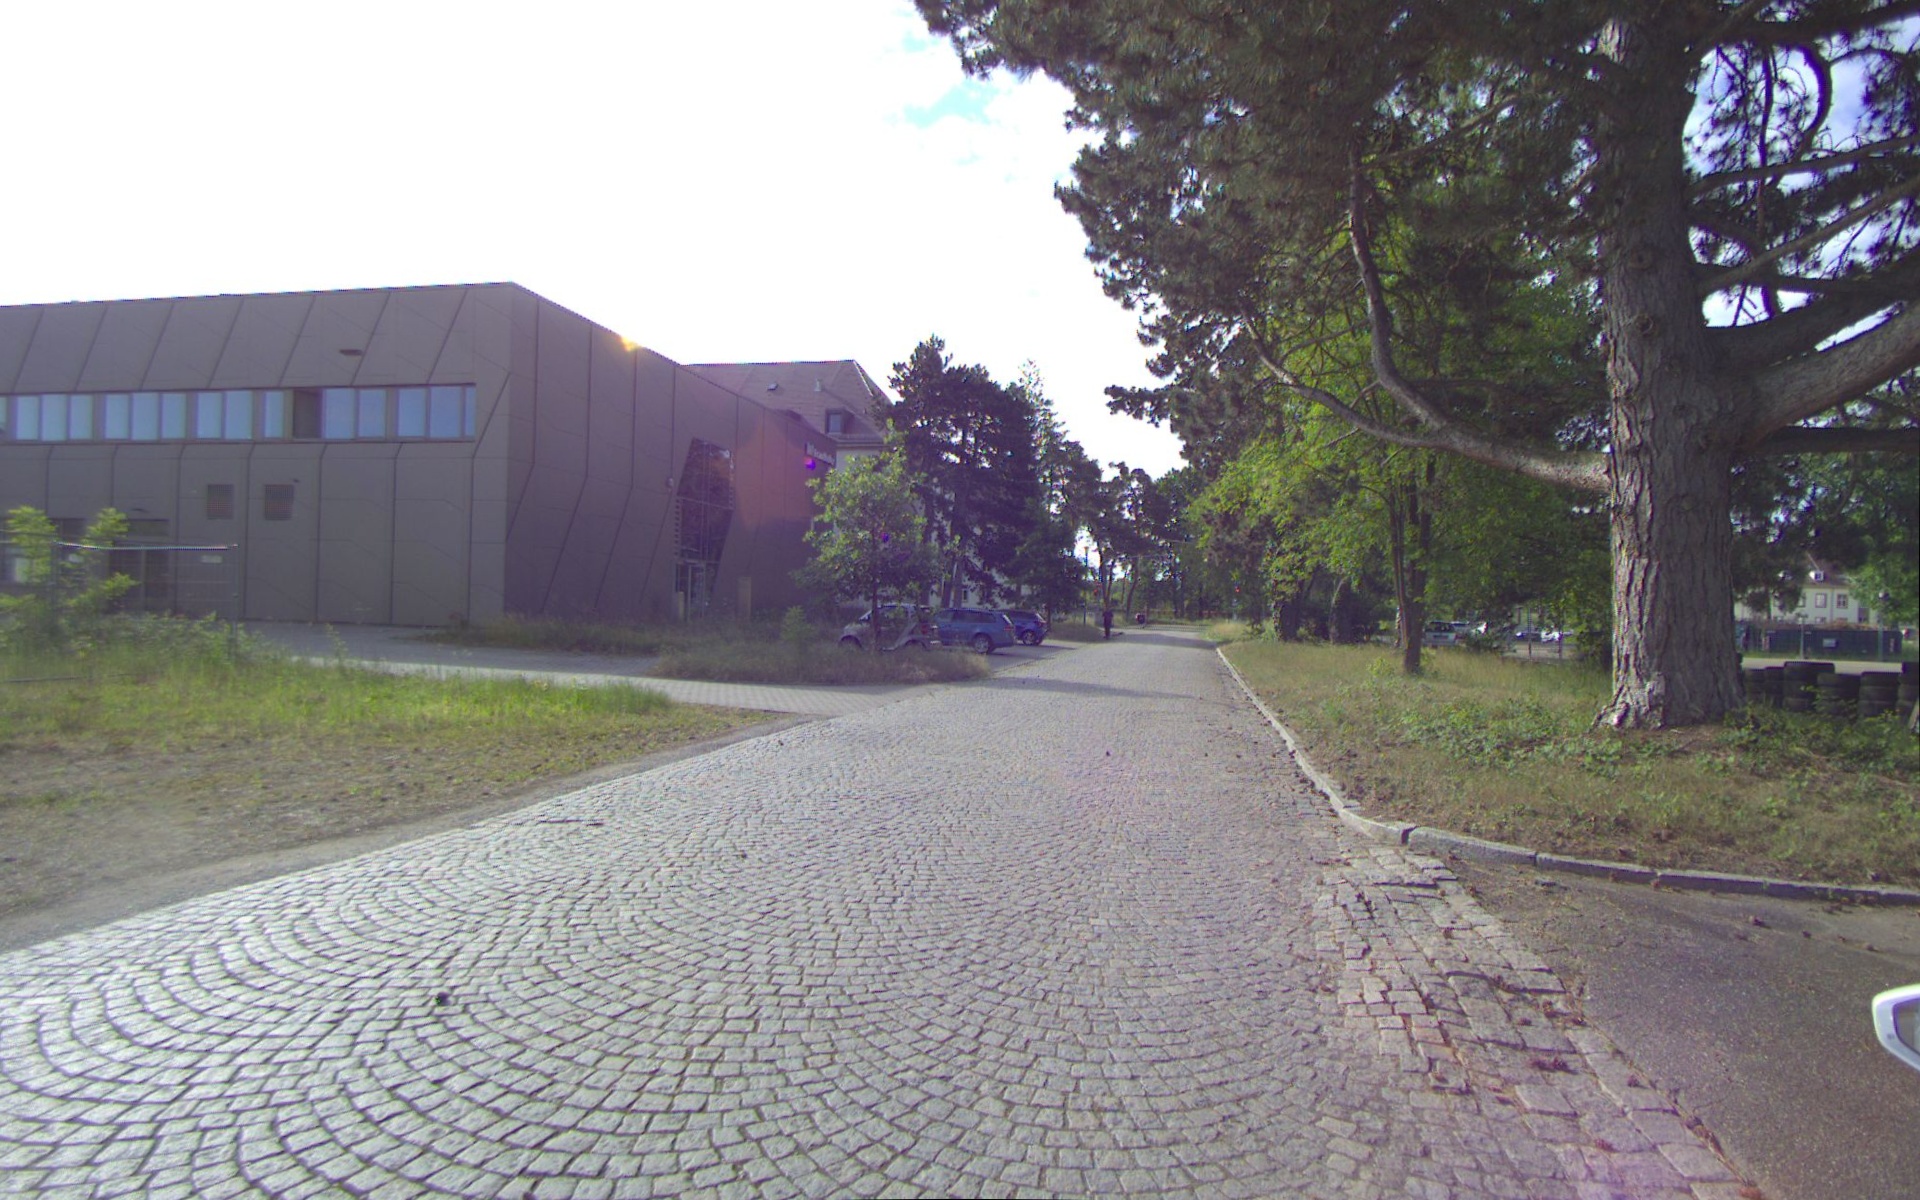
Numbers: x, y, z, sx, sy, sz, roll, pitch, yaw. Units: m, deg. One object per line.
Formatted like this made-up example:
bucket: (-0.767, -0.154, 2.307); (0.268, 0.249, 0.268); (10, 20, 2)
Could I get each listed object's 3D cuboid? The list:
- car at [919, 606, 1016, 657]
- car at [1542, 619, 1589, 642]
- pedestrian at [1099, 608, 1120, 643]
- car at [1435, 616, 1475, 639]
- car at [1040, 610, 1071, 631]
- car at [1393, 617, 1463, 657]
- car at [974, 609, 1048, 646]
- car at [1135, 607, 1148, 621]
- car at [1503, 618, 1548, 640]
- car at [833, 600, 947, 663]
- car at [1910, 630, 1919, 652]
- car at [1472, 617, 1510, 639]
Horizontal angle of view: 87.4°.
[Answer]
car: (0.288, 1.050, 34.239); (3.031, 1.476, 1.493); (4, 0, 9)
car: (46.620, 2.319, 77.445); (1.959, 1.639, 4.002); (1, 0, 13)
pedestrian: (8.094, 1.394, 54.571); (0.940, 1.868, 0.955); (2, 0, -1)
car: (38.624, 2.121, 78.481); (1.959, 1.639, 4.002); (1, 0, 13)
car: (7.826, 1.671, 82.167); (1.959, 1.639, 4.002); (1, 0, 13)
car: (20.549, 1.592, 44.264); (1.854, 1.561, 4.002); (2, 0, 11)
car: (2.221, 1.189, 43.424); (3.031, 1.469, 1.493); (2, 0, 7)
car: (26.540, 2.043, 146.880); (1.669, 2.040, 4.002); (2, 0, 13)
car: (43.746, 2.231, 77.818); (1.959, 1.639, 4.002); (1, 0, 13)
car: (-1.893, 0.836, 27.235); (2.714, 1.570, 1.425); (1, 0, 17)
car: (79.000, 3.370, 80.932); (1.960, 1.773, 4.001); (2, 0, 18)
car: (41.261, 2.161, 78.117); (1.790, 1.639, 4.002); (1, 0, 15)
